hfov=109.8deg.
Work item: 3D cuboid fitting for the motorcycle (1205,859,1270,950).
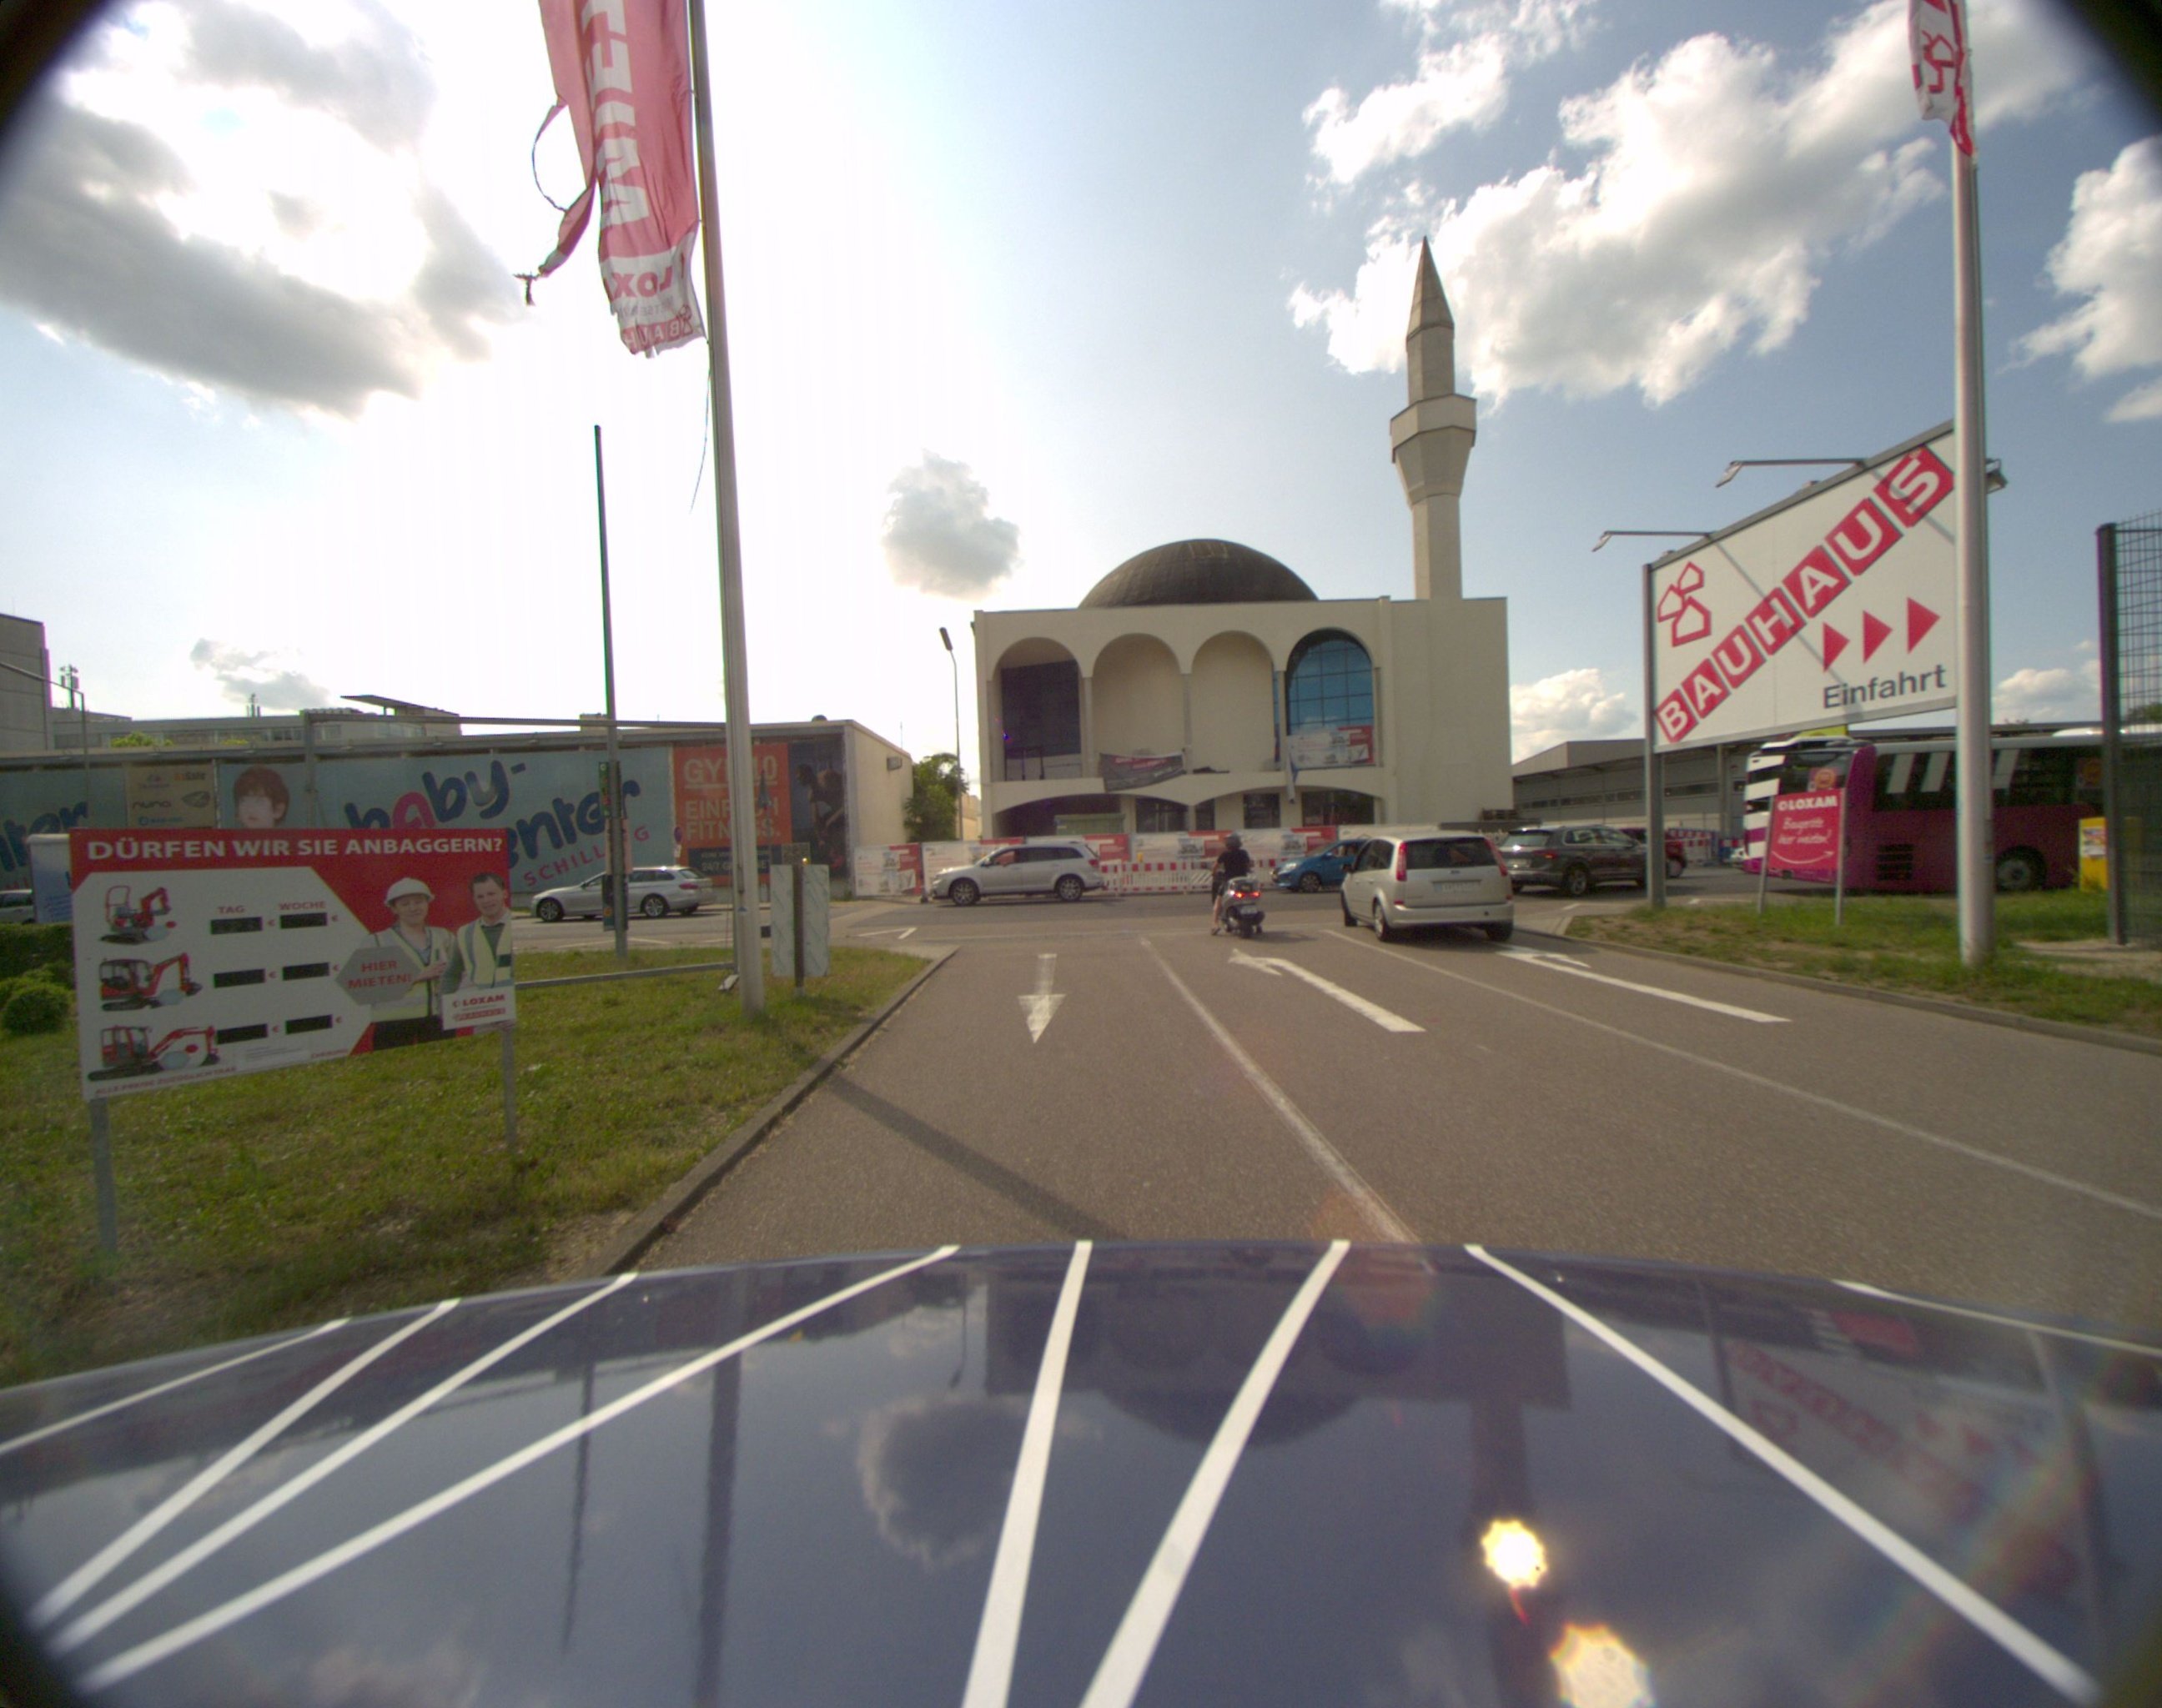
[{"bbox_3d":[2.535,0.765,12.541,0.671,1.298,2.213,-2,1,2],"label":"motorcycle"}]

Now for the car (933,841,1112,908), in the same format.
[{"bbox_3d":[-1.648,0.564,21.720,4.837,1.689,1.868,-1,0,-4],"label":"car"}]

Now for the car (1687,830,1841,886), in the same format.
[{"bbox_3d":[19.931,0.087,22.264,2.947,1.409,1.690,-1,5,-1],"label":"car"}]

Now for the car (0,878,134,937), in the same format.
[{"bbox_3d":[-30.287,1.545,21.757,3.946,1.482,1.793,-2,1,-1],"label":"car"}]

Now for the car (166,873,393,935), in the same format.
[{"bbox_3d":[-23.126,1.413,22.065,4.553,1.491,1.853,-2,1,0],"label":"car"}]

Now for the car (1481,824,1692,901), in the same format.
[{"bbox_3d":[12.088,0.184,18.205,4.389,1.656,1.768,-1,-1,-17],"label":"car"}]

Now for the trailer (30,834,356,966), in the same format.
[{"bbox_3d":[-17.978,0.869,15.564,4.275,2.406,1.767,-1,4,-1],"label":"trailer"}]

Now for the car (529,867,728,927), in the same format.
[{"bbox_3d":[-12.931,1.198,21.917,4.614,1.471,1.771,-2,0,0],"label":"car"}]

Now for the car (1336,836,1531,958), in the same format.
[{"bbox_3d":[5.273,0.531,11.978,1.720,1.555,4.212,-2,1,10],"label":"car"}]

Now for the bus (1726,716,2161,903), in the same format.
[{"bbox_3d":[20.585,-0.969,15.982,11.560,3.345,2.892,-2,1,0],"label":"bus"}]

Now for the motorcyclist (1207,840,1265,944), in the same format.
[{"bbox_3d":[2.524,0.604,12.429,0.788,1.619,0.686,-2,1,2],"label":"motorcyclist"}]

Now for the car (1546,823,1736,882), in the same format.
[{"bbox_3d":[16.153,-0.051,22.060,4.190,1.501,1.791,-2,1,0],"label":"car"}]

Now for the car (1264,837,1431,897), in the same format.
[{"bbox_3d":[7.580,0.347,21.871,4.193,1.505,1.697,-2,1,-1],"label":"car"}]
